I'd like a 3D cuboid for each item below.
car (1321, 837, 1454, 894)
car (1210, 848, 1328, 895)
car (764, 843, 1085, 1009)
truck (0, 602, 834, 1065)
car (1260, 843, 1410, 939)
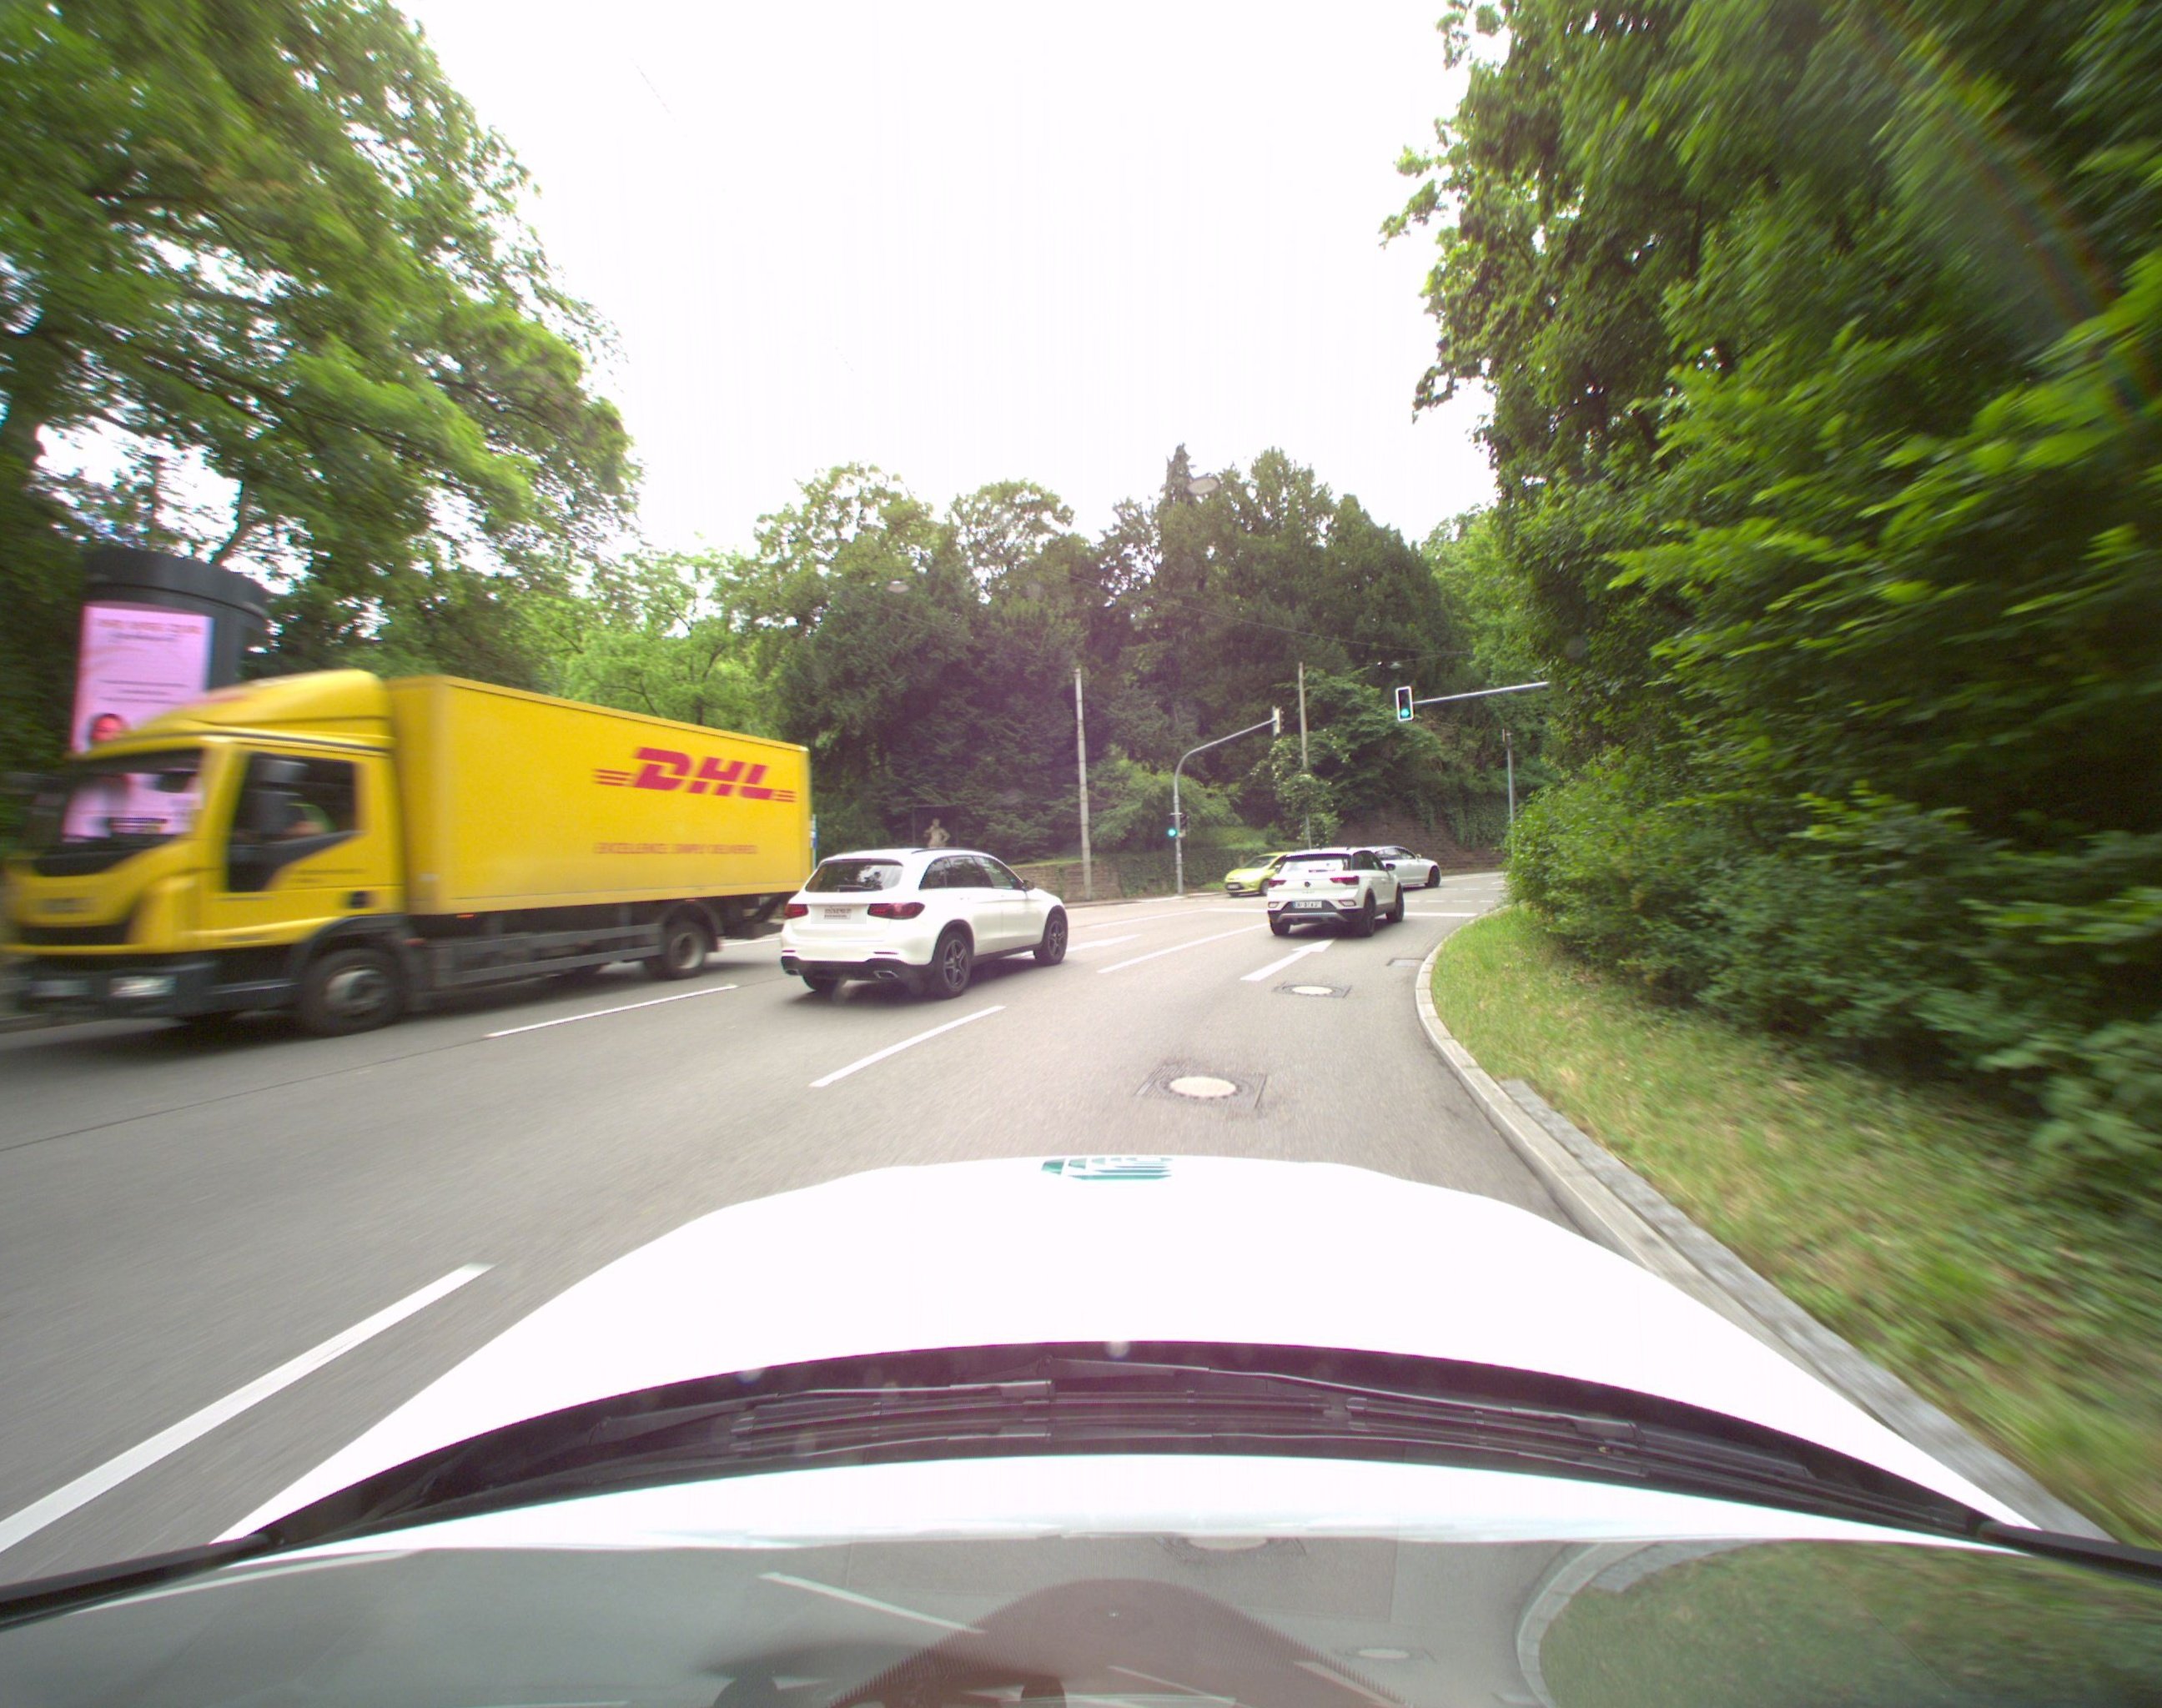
[{"bbox_3d":[9.897,0.332,26.140,4.802,1.534,1.849,-3,0,-41],"label":"car"},{"bbox_3d":[6.648,0.587,28.735,3.907,1.423,1.546,-2,0,-26],"label":"car"},{"bbox_3d":[-1.636,0.727,10.456,1.843,1.605,4.694,1,-1,20],"label":"car"},{"bbox_3d":[-6.504,-0.080,9.829,2.727,3.300,7.618,-2,-1,19],"label":"truck"},{"bbox_3d":[5.024,0.607,15.699,1.737,1.552,4.365,-2,0,31],"label":"car"}]
